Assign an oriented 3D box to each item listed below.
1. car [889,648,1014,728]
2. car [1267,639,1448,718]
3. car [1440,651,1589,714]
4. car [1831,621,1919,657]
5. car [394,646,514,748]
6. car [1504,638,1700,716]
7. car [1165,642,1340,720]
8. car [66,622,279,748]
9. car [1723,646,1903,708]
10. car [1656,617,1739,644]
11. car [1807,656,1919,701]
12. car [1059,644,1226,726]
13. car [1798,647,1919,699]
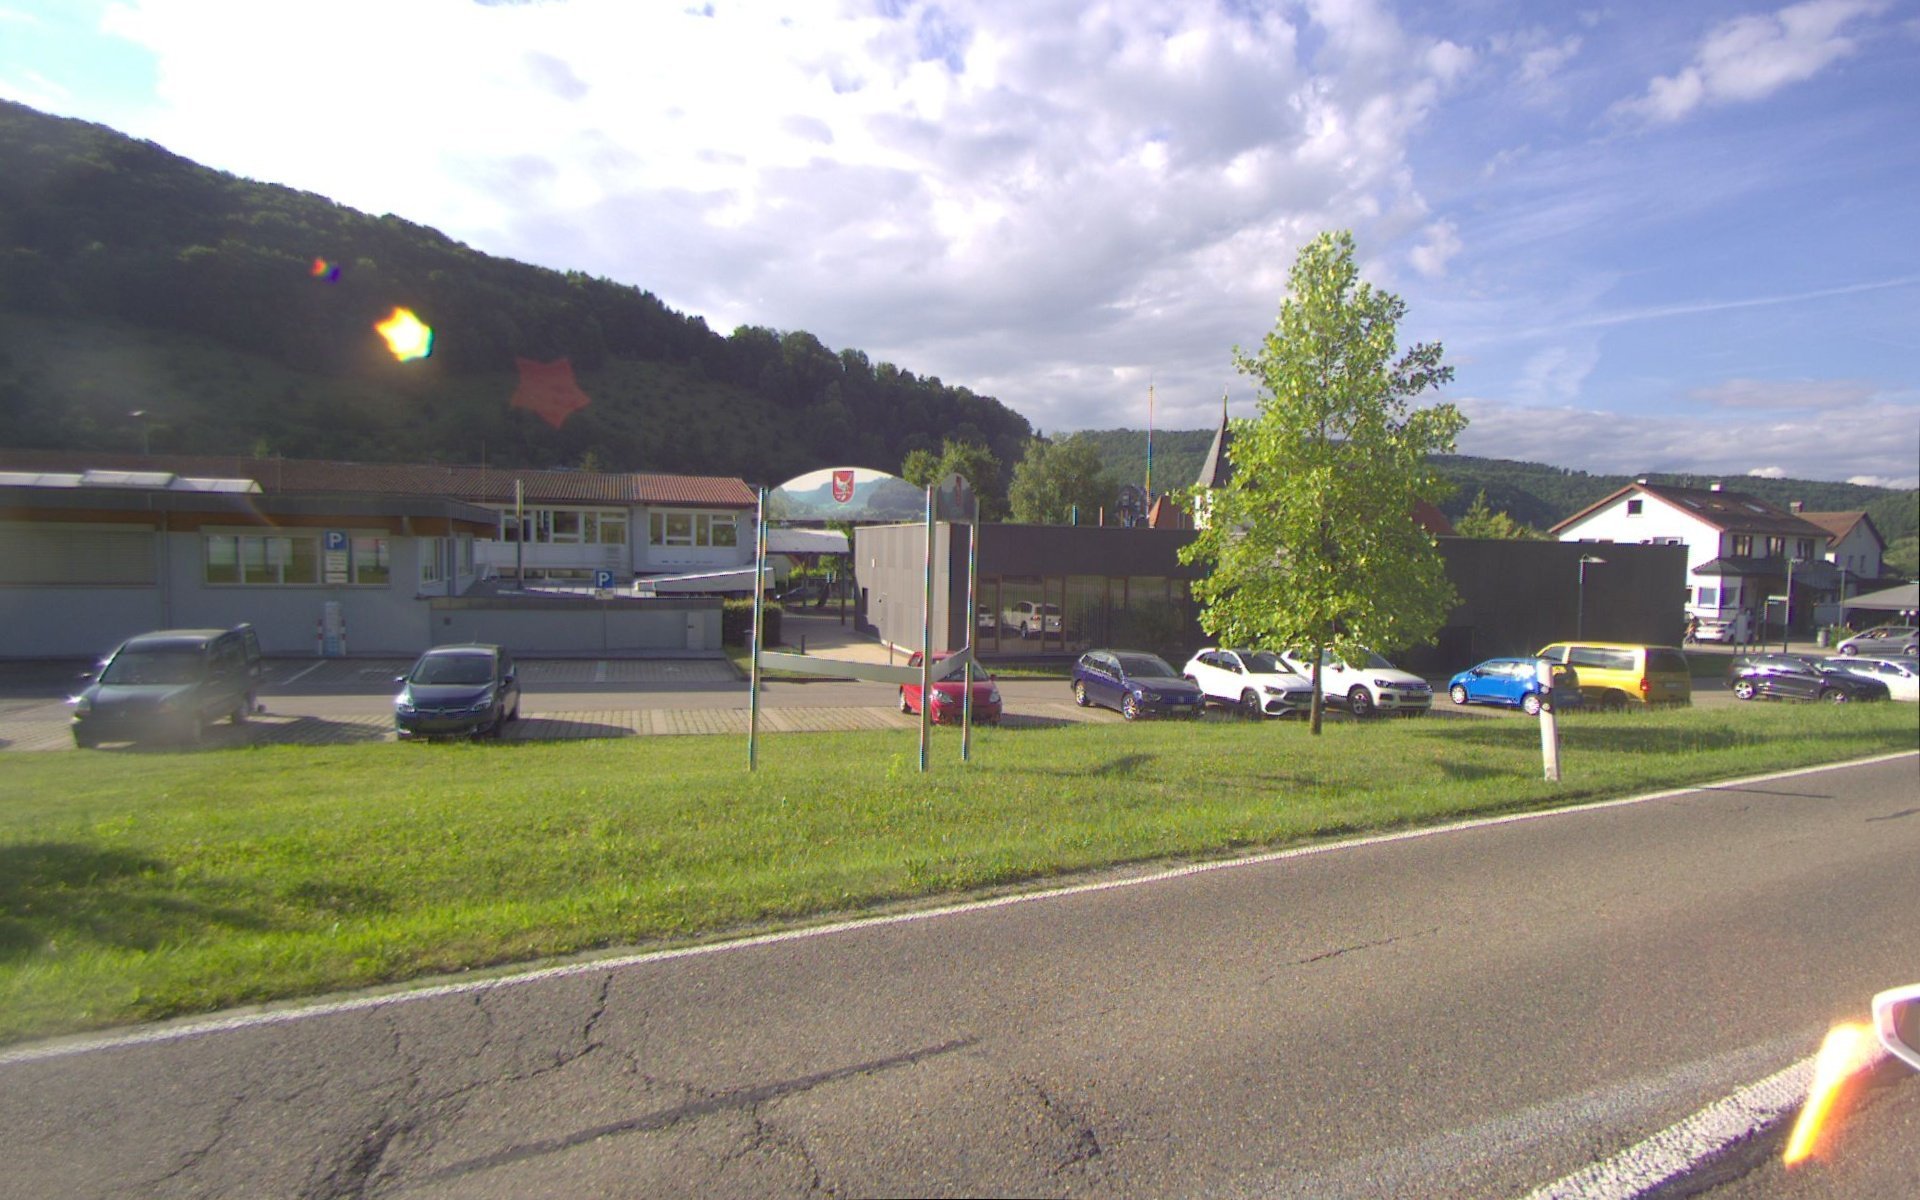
[{"bbox_3d":[-0.274,1.878,22.238,1.591,1.416,3.716,2,0,-20],"label":"car"},{"bbox_3d":[10.476,2.020,26.859,1.970,1.725,4.533,2,0,-20],"label":"car"},{"bbox_3d":[15.777,2.304,28.743,1.609,1.492,3.486,2,0,-22],"label":"car"},{"bbox_3d":[46.641,1.965,51.116,3.423,1.684,1.730,2,0,44],"label":"car"},{"bbox_3d":[-9.458,1.727,19.041,1.660,1.471,4.000,-1,1,-22],"label":"car"},{"bbox_3d":[18.426,2.158,29.139,1.968,1.893,4.609,2,0,-16],"label":"car"},{"bbox_3d":[7.293,1.993,25.553,1.970,1.575,4.533,2,0,-20],"label":"car"},{"bbox_3d":[-14.109,1.409,18.353,1.660,1.817,4.982,2,0,-22],"label":"car"},{"bbox_3d":[27.637,2.453,32.716,1.970,1.659,4.019,2,0,-20],"label":"car"},{"bbox_3d":[44.812,1.838,61.079,3.926,1.461,1.768,2,0,-8],"label":"car"},{"bbox_3d":[33.355,2.821,36.203,1.736,1.327,3.976,2,0,-24],"label":"car"},{"bbox_3d":[4.297,1.993,24.443,1.970,1.575,4.533,2,0,-20],"label":"car"},{"bbox_3d":[31.846,2.506,34.190,1.852,1.513,4.807,2,0,-20],"label":"car"}]
